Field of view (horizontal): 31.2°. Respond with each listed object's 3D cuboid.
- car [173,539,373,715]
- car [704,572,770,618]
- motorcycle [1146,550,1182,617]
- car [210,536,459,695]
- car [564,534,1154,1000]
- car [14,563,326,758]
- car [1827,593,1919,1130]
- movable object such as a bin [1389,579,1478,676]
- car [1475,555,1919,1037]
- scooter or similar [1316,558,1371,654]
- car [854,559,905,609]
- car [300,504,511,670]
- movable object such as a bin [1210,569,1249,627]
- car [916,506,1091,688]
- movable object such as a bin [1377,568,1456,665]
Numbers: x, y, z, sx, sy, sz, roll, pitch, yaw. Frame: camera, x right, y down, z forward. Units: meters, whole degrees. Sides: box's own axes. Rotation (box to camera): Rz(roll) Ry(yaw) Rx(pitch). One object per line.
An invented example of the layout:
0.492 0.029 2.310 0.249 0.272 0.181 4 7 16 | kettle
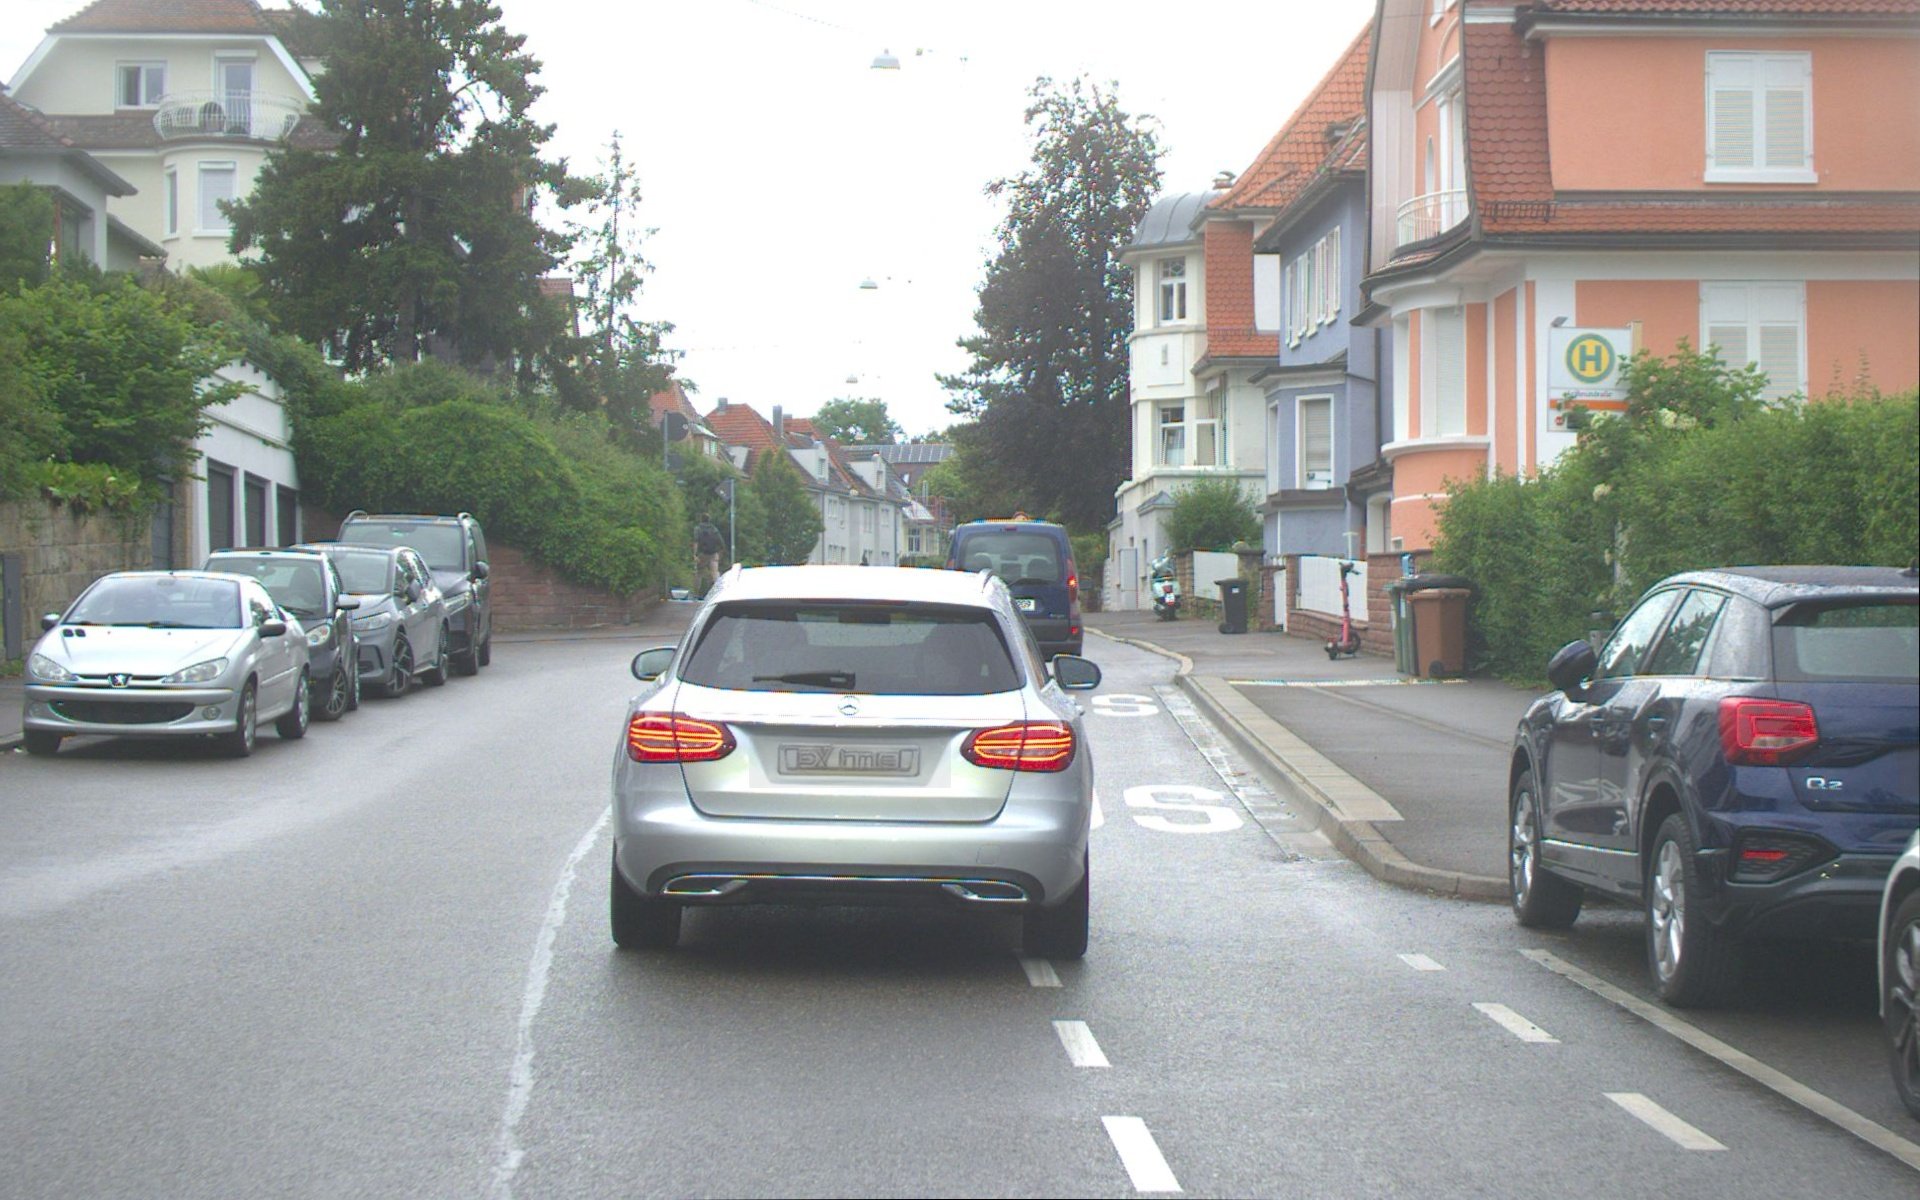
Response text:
-6.294 0.212 31.753 1.496 1.518 3.160 1 1 -6 | car
-7.502 -0.182 115.765 2.117 1.466 4.017 1 1 -3 | car
3.959 -0.324 66.759 0.582 1.257 2.331 -2 1 2 | motorcycle
-6.499 0.113 36.152 1.898 1.510 4.343 2 1 -2 | car
-0.353 0.532 13.913 1.982 1.548 4.298 1 1 0 | car
-6.062 0.418 26.749 1.609 1.333 3.841 1 1 -1 | car
3.454 0.744 7.621 1.713 1.400 4.608 1 1 -2 | car
4.890 0.284 35.515 0.569 0.965 0.670 1 1 -34 | movable object such as a bin
3.238 0.608 13.064 1.753 1.525 4.206 1 1 -2 | car
5.039 0.068 45.141 0.693 1.220 1.299 1 1 6 | scooter or similar
-4.069 -0.825 173.625 2.466 2.392 4.000 -3 1 -1 | car
-6.690 -0.201 42.041 2.128 1.853 5.595 1 1 -5 | car
4.469 -0.031 57.034 0.549 0.932 0.634 -3 1 -1 | movable object such as a bin
0.510 -0.089 39.921 1.824 1.876 4.095 -3 2 1 | car
4.971 0.176 37.465 0.711 1.026 0.757 -1 1 -3 | movable object such as a bin
